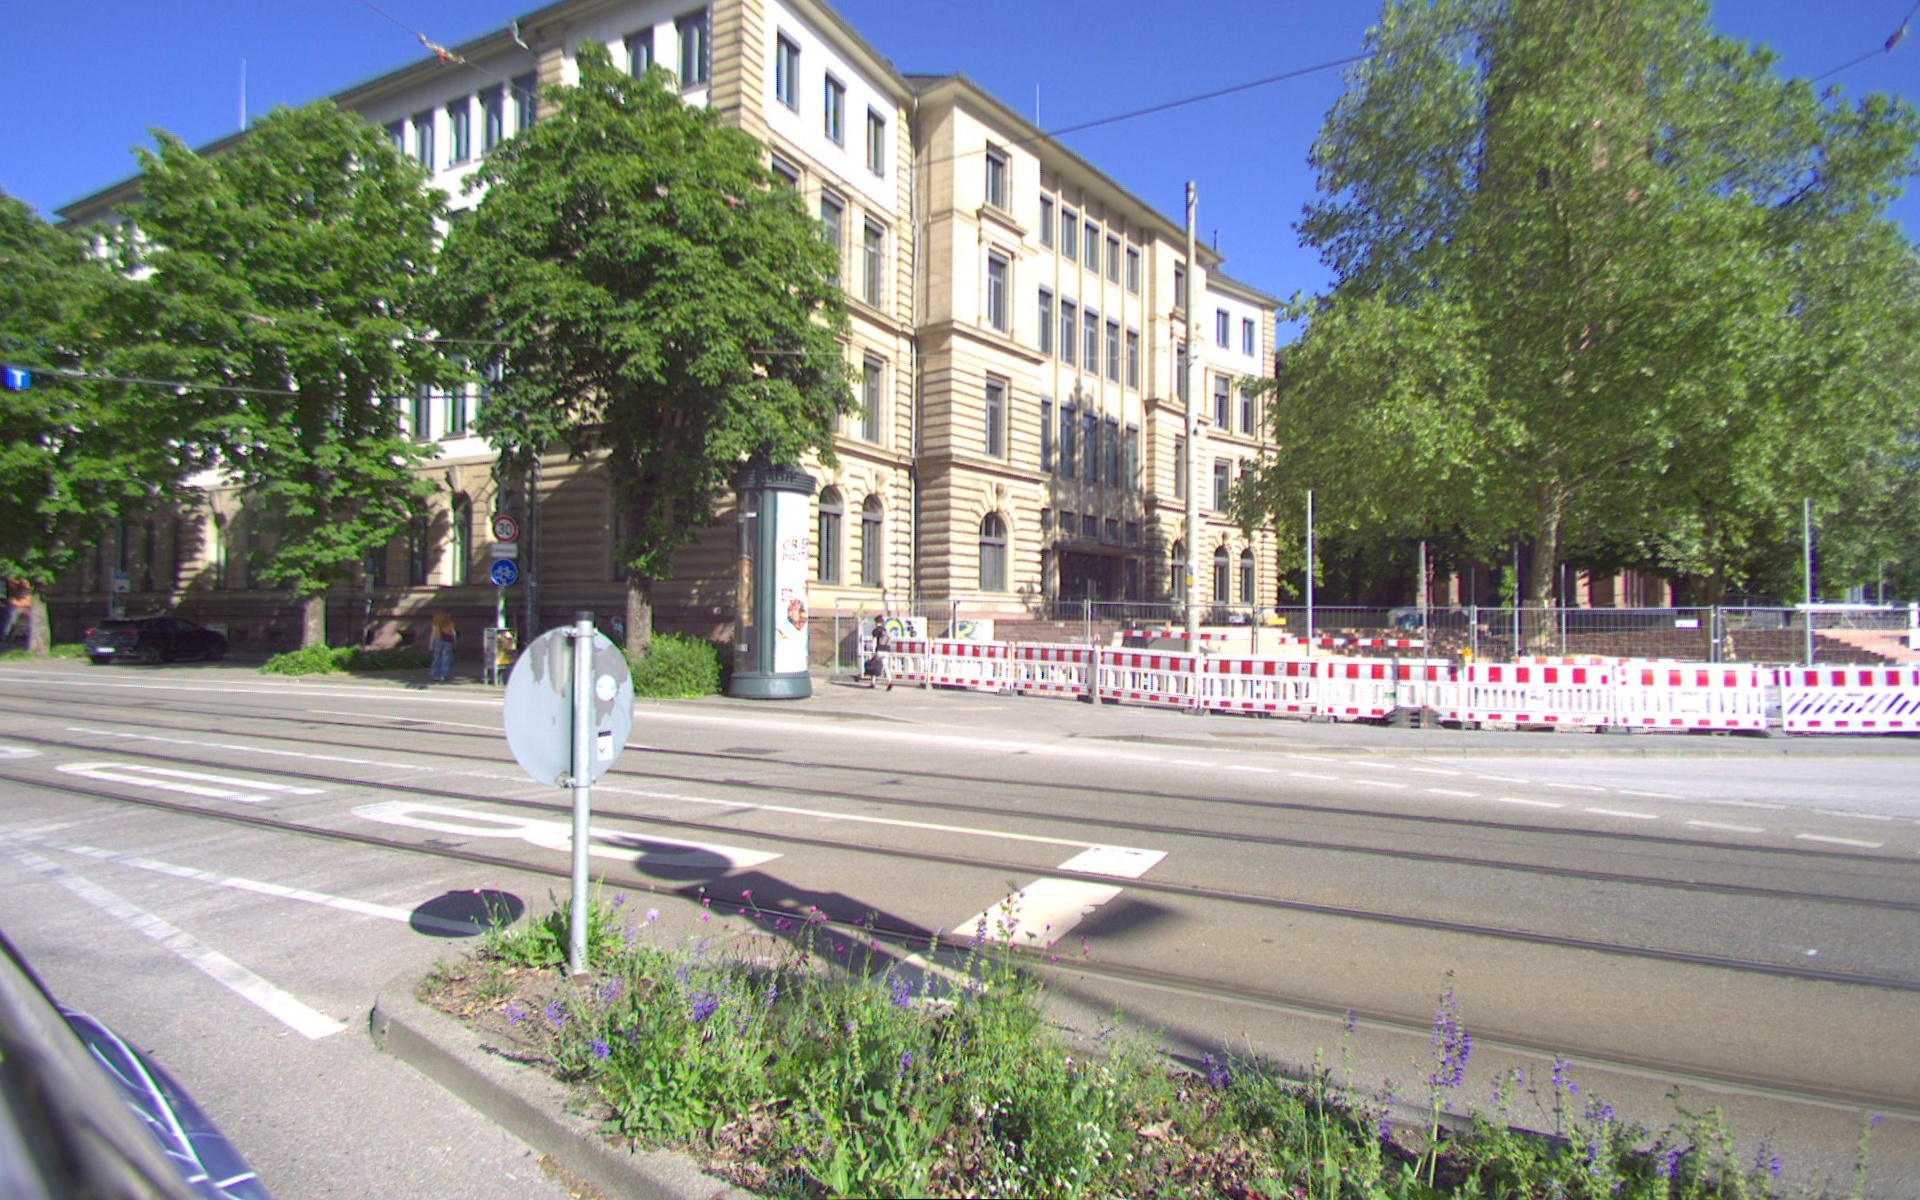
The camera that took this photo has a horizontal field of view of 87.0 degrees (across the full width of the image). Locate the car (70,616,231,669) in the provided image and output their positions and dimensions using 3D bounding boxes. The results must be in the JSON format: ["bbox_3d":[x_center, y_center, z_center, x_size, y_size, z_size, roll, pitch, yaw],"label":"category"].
[{"bbox_3d":[-26.087,1.341,32.820,1.895,1.586,4.108,0,-2,1],"label":"car"}]

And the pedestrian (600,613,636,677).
[{"bbox_3d":[-8.656,1.131,25.638,0.651,1.574,0.573,-1,-2,29],"label":"pedestrian"}]

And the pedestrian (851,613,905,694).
[{"bbox_3d":[-1.793,1.151,22.074,0.845,1.682,0.720,2,0,39],"label":"pedestrian"}]

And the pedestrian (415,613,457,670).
[{"bbox_3d":[-15.321,1.198,29.606,0.671,1.578,0.849,0,2,33],"label":"pedestrian"}]

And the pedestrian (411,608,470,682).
[{"bbox_3d":[-12.374,1.084,24.119,0.764,1.682,1.029,-3,-5,13],"label":"pedestrian"}]

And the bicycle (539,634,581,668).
[{"bbox_3d":[-11.463,1.451,28.986,1.356,0.910,0.394,0,0,31],"label":"bicycle"}]
